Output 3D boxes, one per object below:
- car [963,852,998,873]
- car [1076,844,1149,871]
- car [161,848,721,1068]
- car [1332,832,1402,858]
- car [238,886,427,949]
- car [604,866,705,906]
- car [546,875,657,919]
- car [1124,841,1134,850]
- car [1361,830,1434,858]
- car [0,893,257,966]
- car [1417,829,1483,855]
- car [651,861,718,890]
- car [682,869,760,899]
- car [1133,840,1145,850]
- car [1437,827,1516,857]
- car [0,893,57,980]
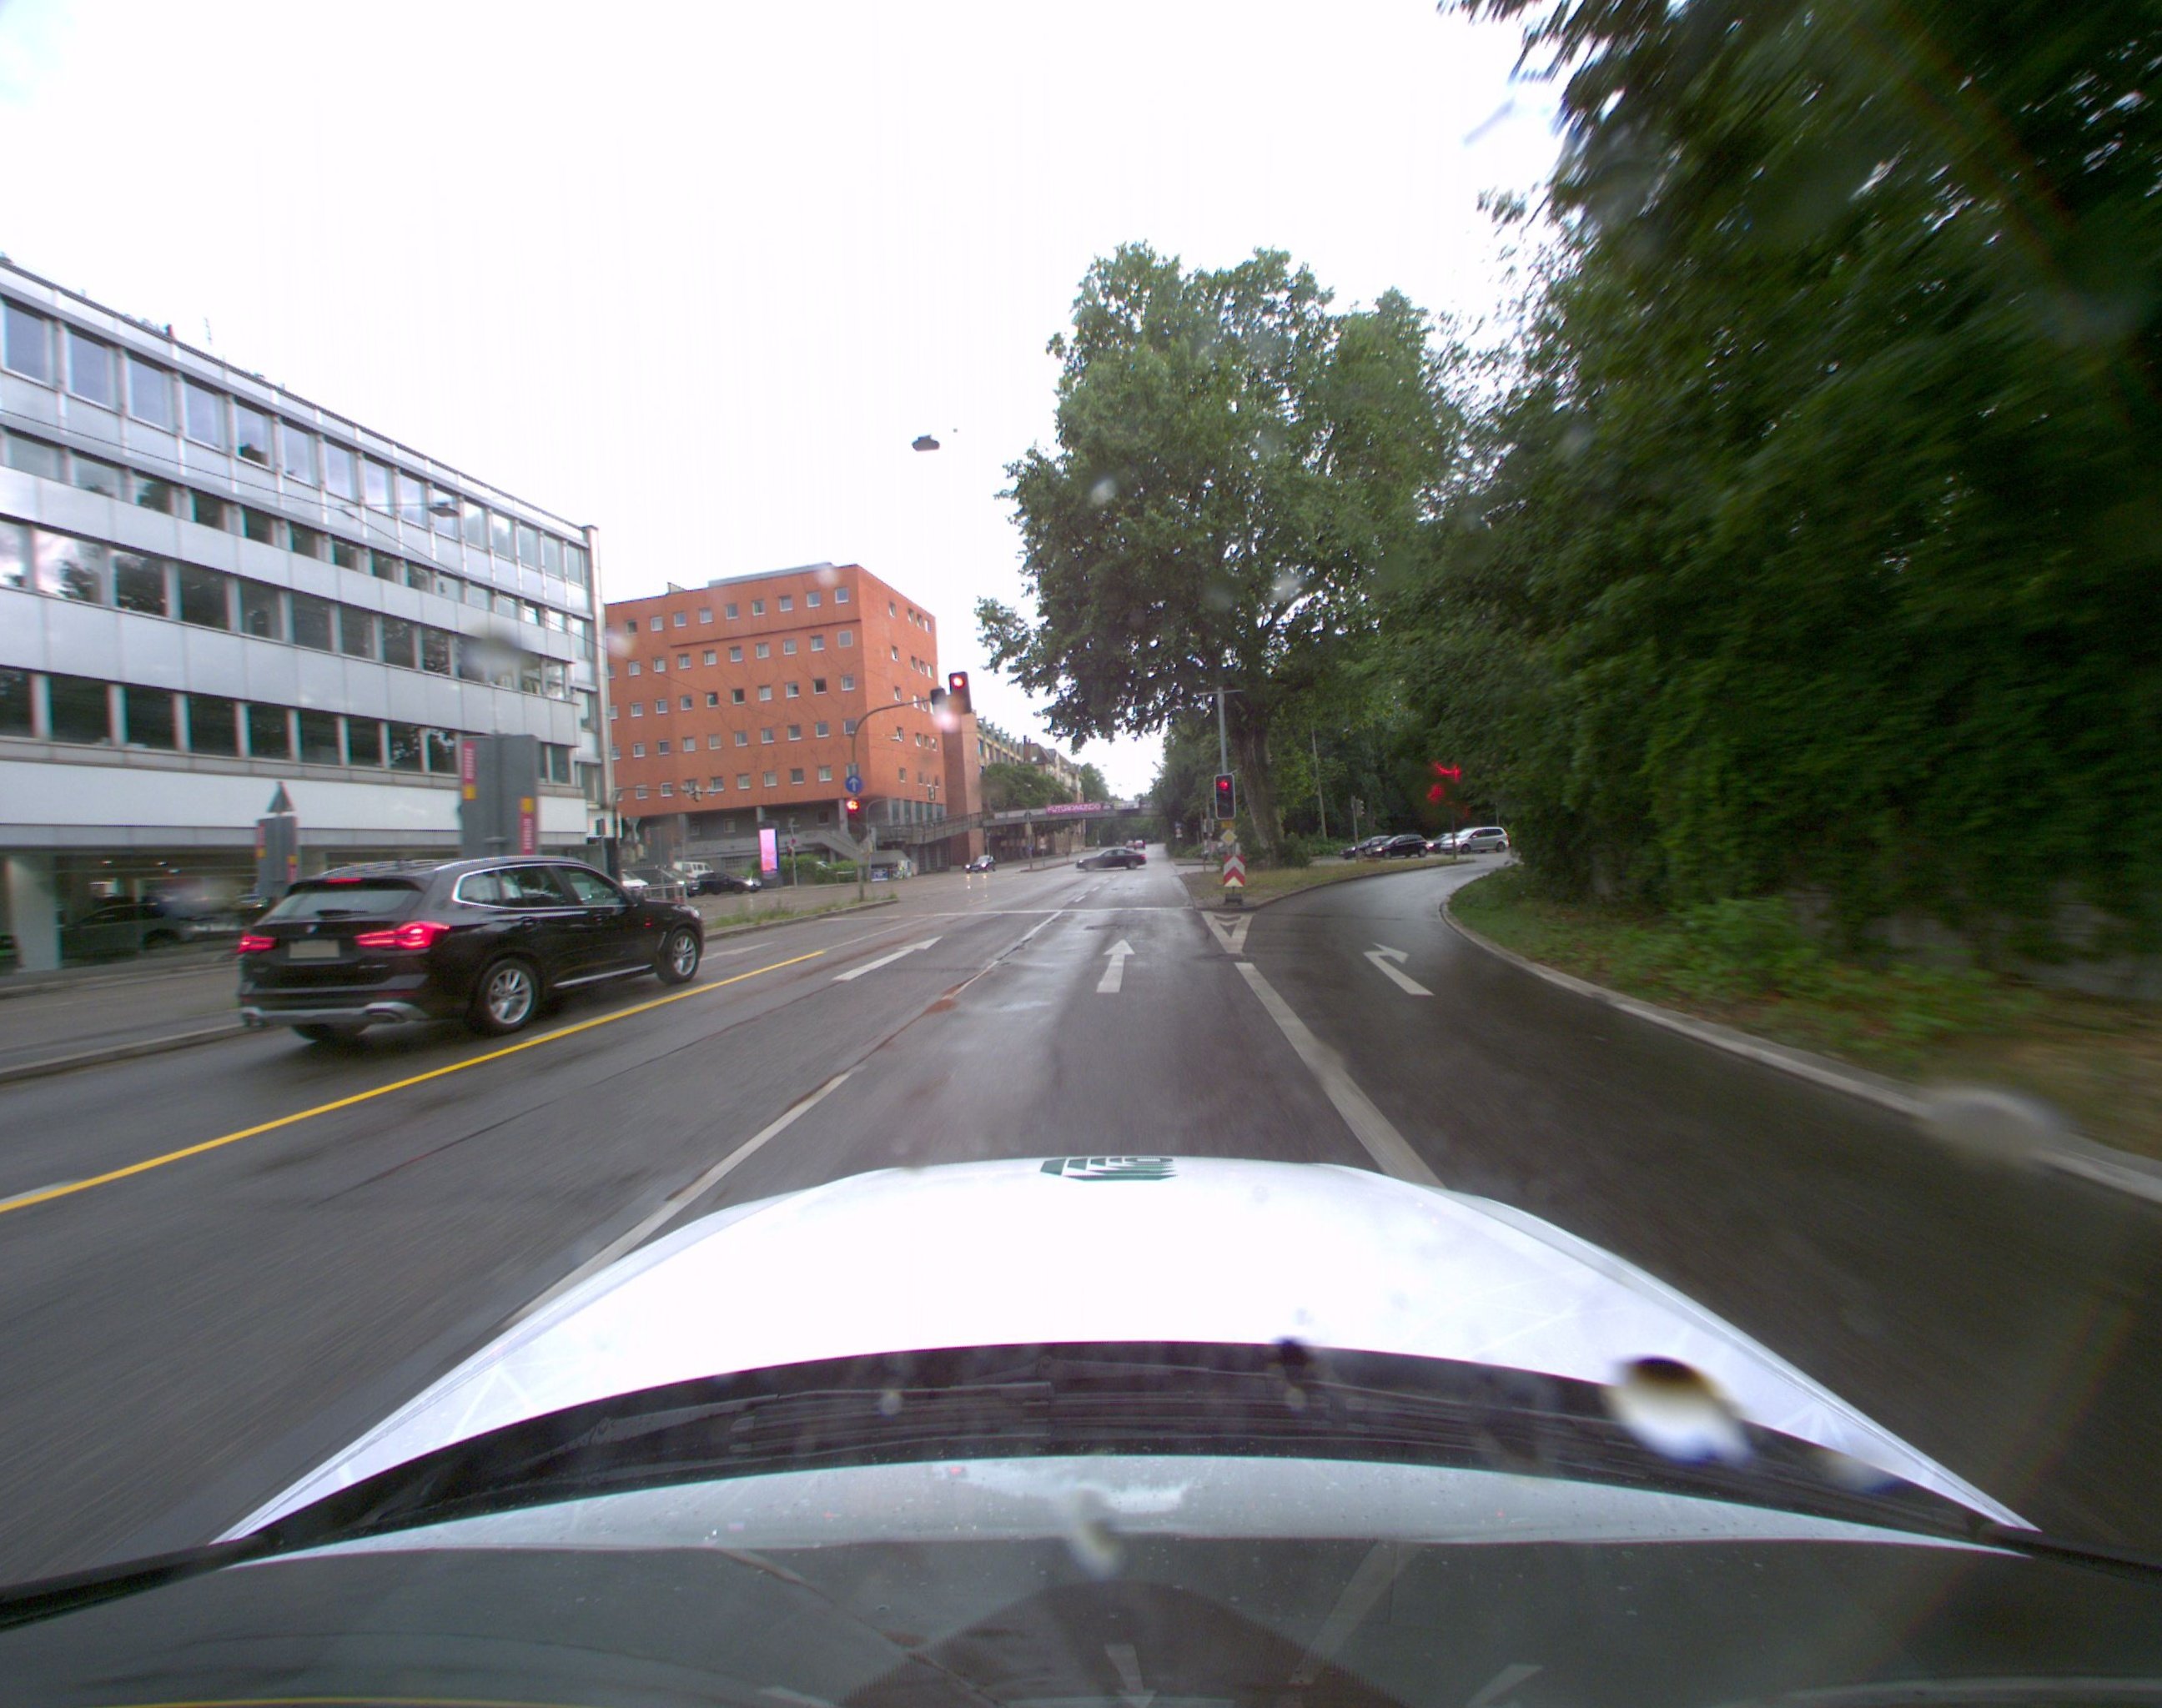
[{"bbox_3d":[-8.219,0.664,66.954,1.984,1.519,4.005,-3,0,5],"label":"car"},{"bbox_3d":[2.050,0.239,54.022,4.593,1.451,1.772,-4,0,-3],"label":"car"},{"bbox_3d":[-6.058,0.810,8.696,1.938,1.597,4.678,-2,1,5],"label":"car"},{"bbox_3d":[19.031,-0.584,54.192,3.995,1.486,1.869,-3,0,-16],"label":"car"},{"bbox_3d":[-27.327,2.269,29.879,4.751,1.738,1.996,-5,0,-6],"label":"car"},{"bbox_3d":[-25.186,1.859,48.090,5.041,1.845,2.007,-5,-1,13],"label":"car"},{"bbox_3d":[-26.365,2.362,44.805,5.158,1.932,2.008,-5,0,14],"label":"car"},{"bbox_3d":[10.140,-1.745,171.899,1.755,1.696,3.710,-5,0,4],"label":"car"},{"bbox_3d":[19.542,-0.623,50.304,3.855,1.485,1.666,-3,-1,-11],"label":"car"},{"bbox_3d":[-28.155,2.182,23.950,5.191,1.520,1.993,-5,0,-11],"label":"car"},{"bbox_3d":[24.977,-0.806,55.201,3.831,1.486,1.736,-3,0,-16],"label":"car"},{"bbox_3d":[-29.913,1.600,61.642,1.980,2.013,4.867,1,0,12],"label":"car"},{"bbox_3d":[-22.071,1.825,49.987,4.107,1.446,1.591,-5,0,12],"label":"car"},{"bbox_3d":[10.692,-1.632,150.052,2.112,1.734,4.201,-2,1,2],"label":"car"},{"bbox_3d":[25.204,-0.772,51.998,4.261,1.486,1.768,-5,0,-11],"label":"car"},{"bbox_3d":[-27.503,2.125,18.221,5.223,2.011,1.980,-5,0,-31],"label":"car"}]
